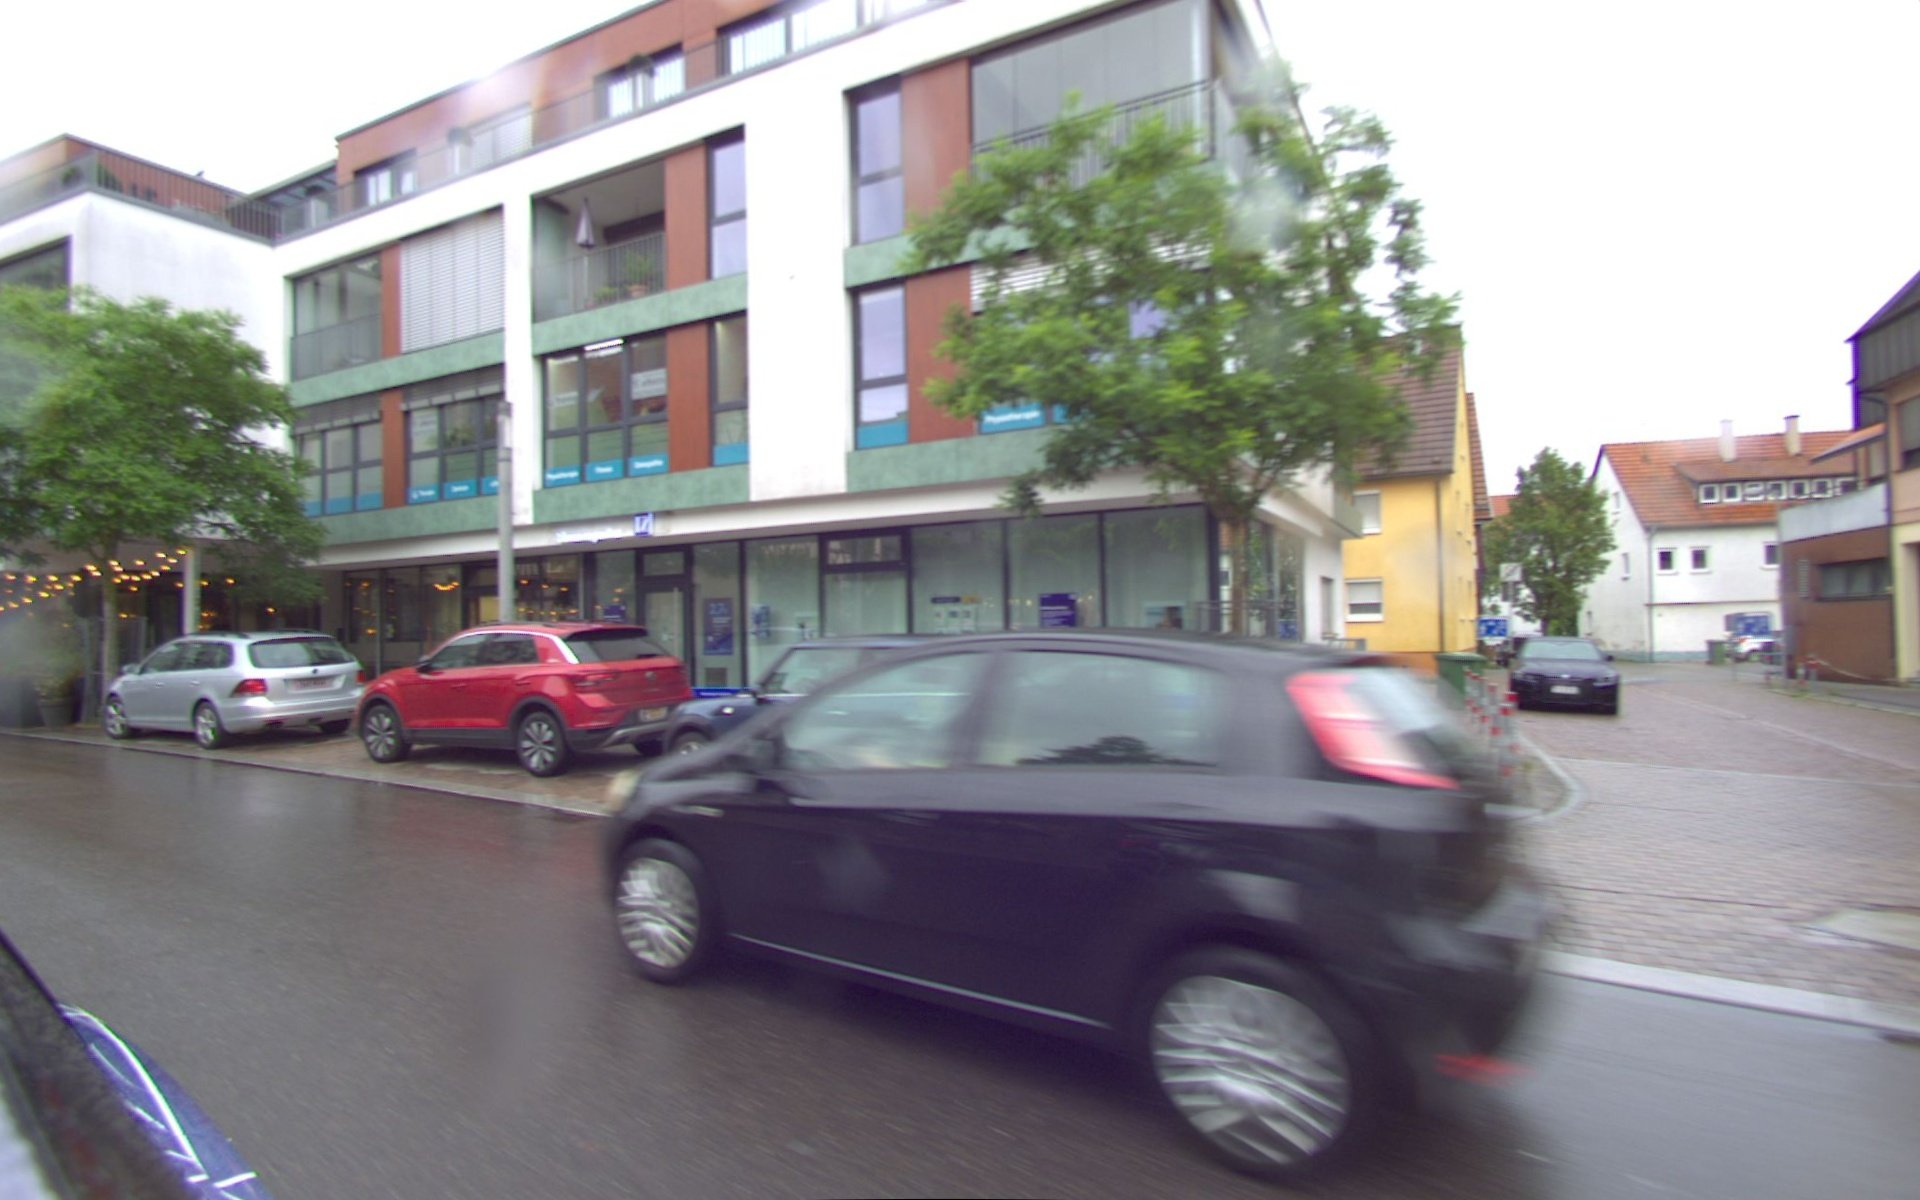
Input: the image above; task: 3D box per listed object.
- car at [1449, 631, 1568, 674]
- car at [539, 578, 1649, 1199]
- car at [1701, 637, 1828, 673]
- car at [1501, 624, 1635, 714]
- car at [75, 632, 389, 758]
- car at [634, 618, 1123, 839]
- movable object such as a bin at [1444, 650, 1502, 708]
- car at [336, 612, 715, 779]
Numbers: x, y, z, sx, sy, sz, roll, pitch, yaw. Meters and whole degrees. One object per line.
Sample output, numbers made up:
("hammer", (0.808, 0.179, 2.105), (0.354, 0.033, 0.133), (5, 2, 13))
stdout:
("car", (21.976, 2.076, 40.717), (3.972, 1.630, 1.805), (-1, -2, 22))
("car", (0.233, 0.771, 3.939), (3.976, 1.457, 1.633), (-2, -4, 36))
("car", (33.141, 2.265, 41.819), (3.769, 1.386, 1.786), (-2, -2, 29))
("car", (12.181, 1.301, 20.519), (1.807, 1.630, 3.968), (-1, -2, 24))
("car", (-10.143, 1.205, 14.047), (4.434, 1.510, 1.775), (-1, -2, 29))
("car", (-0.761, 0.926, 8.601), (3.896, 1.469, 1.702), (-1, -1, 31))
("movable object such as a bin", (10.191, 1.567, 20.092), (0.921, 1.105, 0.992), (-3, -5, 30))
("car", (-4.922, 0.961, 11.395), (4.088, 1.588, 1.775), (-1, -2, 29))
